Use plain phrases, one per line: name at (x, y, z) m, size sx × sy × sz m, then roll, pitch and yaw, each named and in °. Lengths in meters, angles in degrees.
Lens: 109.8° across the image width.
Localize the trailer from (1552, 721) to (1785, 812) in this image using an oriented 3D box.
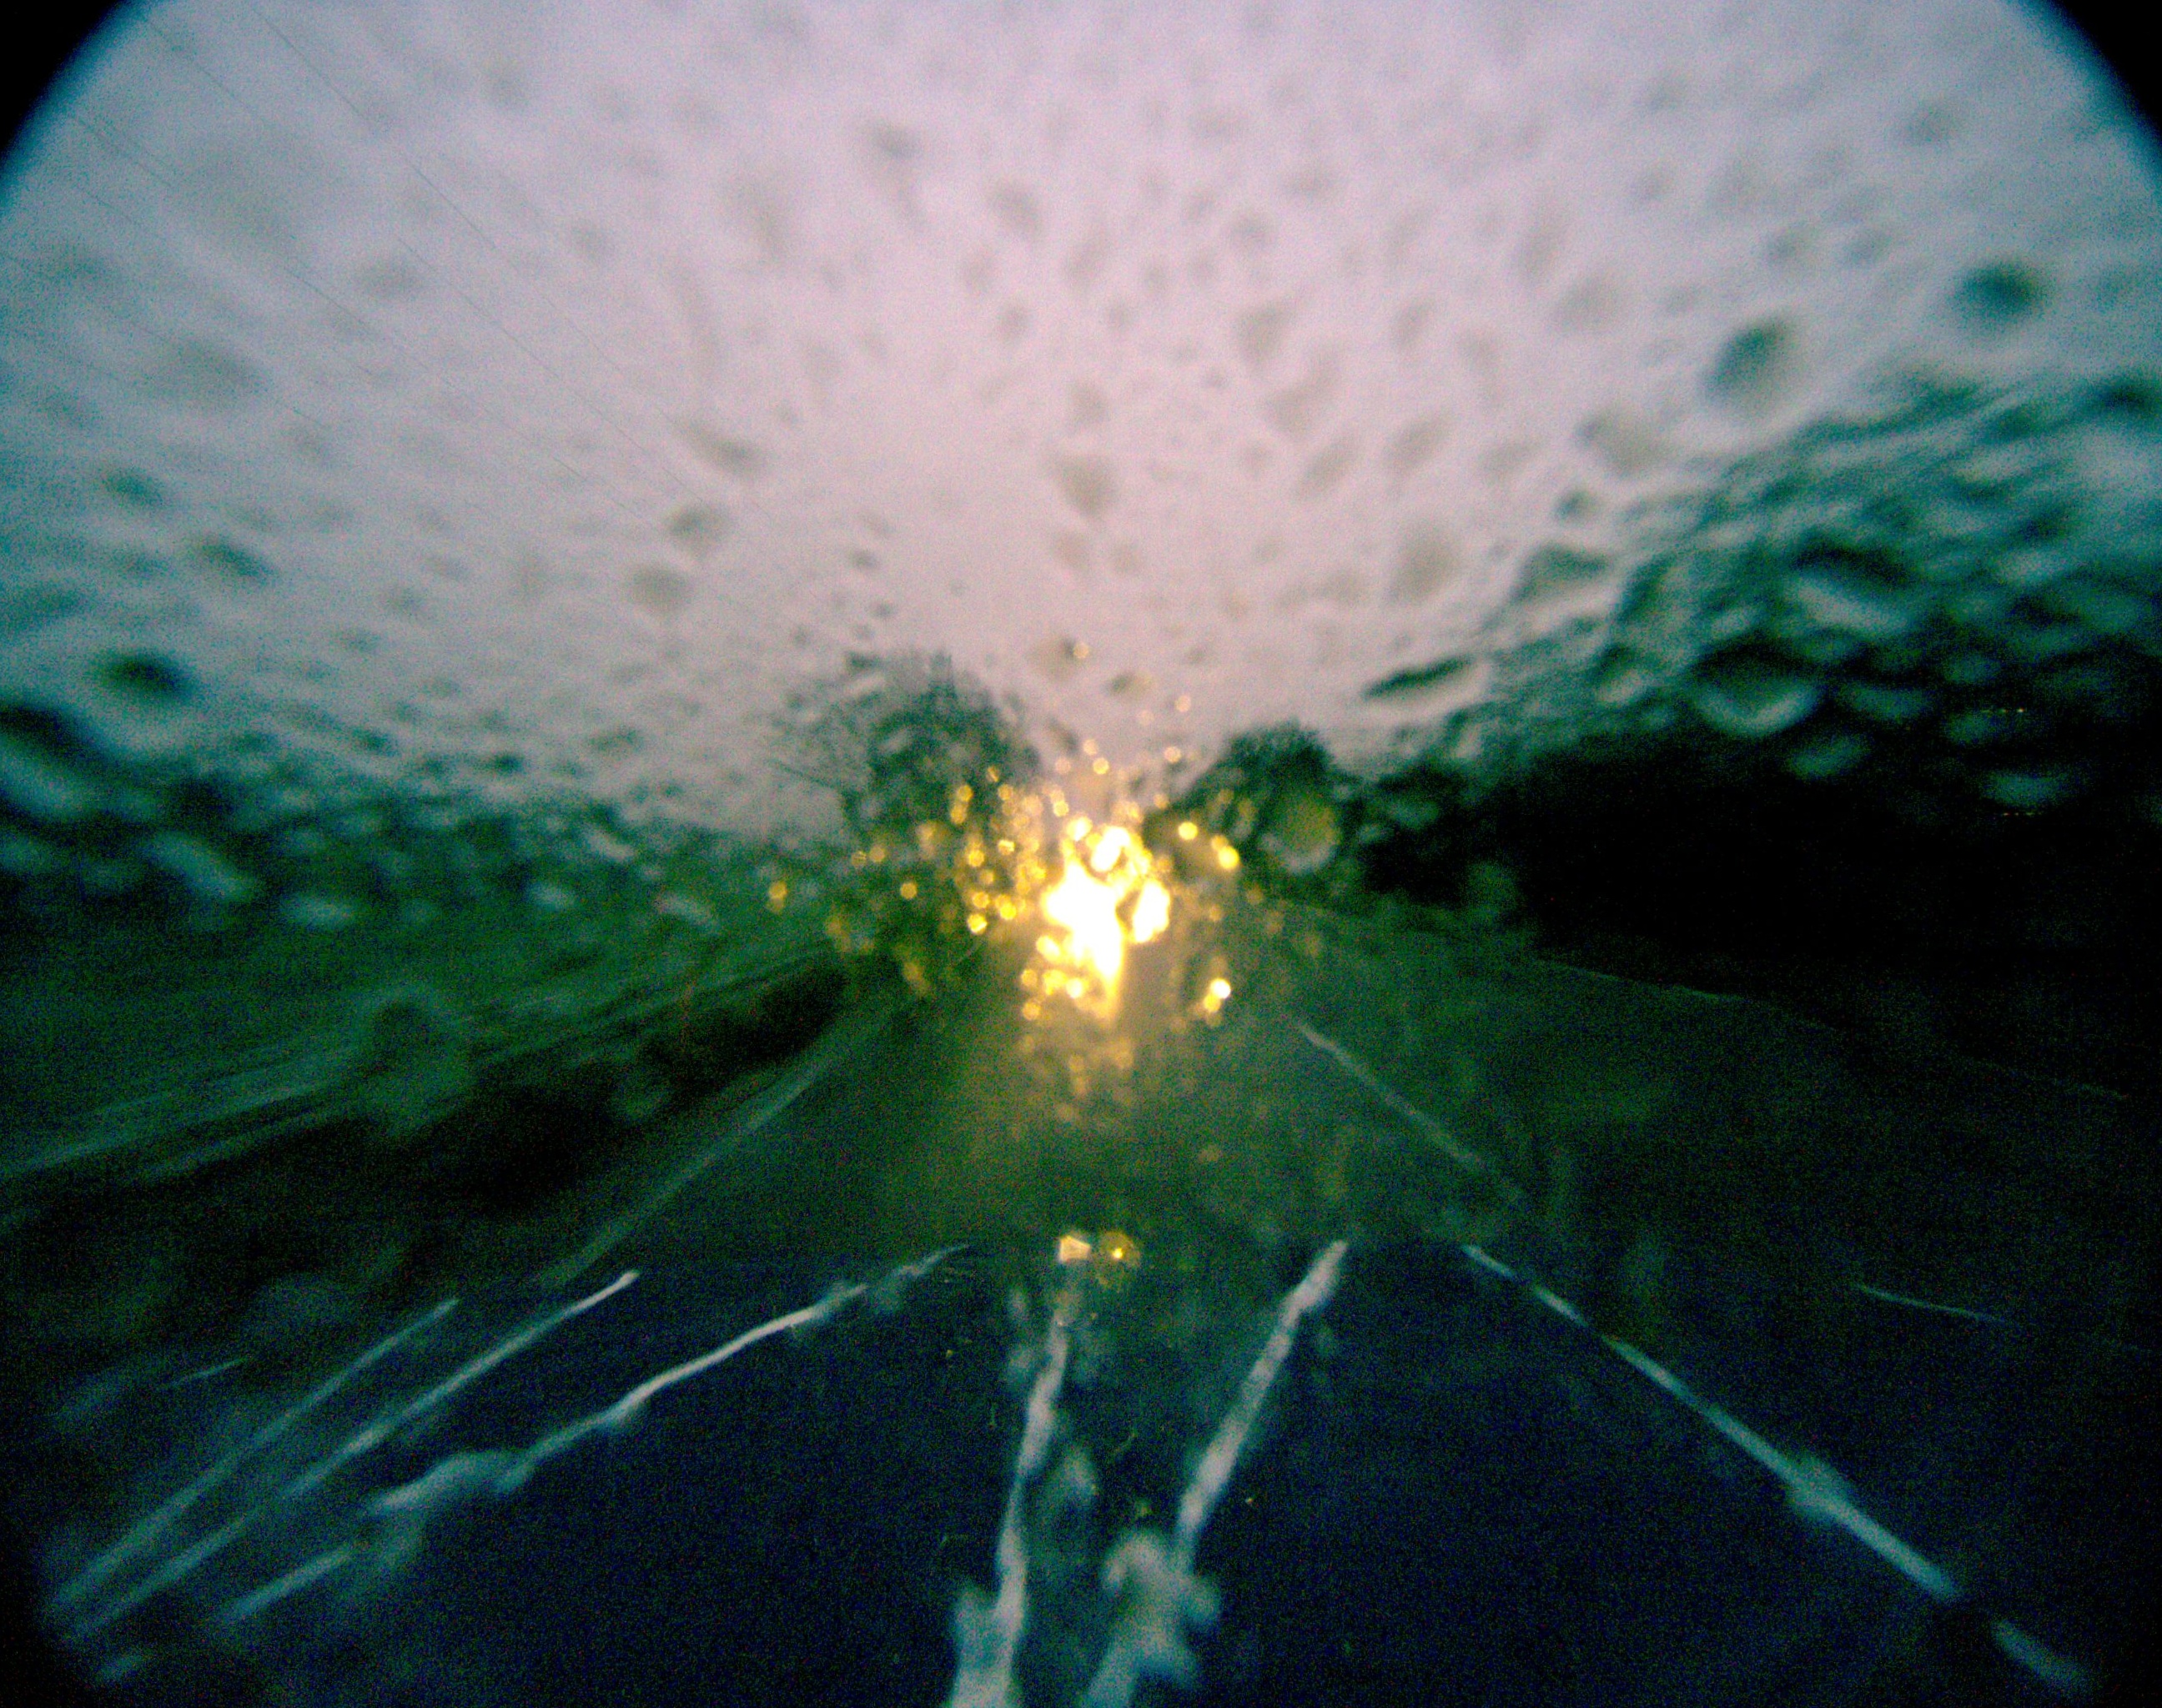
trailer at (26.655, -3.778, 35.593) m, size 2.442 × 2.874 × 11.086 m, roll -1°, pitch 0°, yaw 1°

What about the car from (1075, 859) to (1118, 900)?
car at (0.760, 1.181, 36.599) m, size 1.910 × 1.653 × 3.999 m, roll -3°, pitch 1°, yaw 1°

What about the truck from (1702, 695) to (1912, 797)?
truck at (26.531, -3.819, 28.180) m, size 2.456 × 2.870 × 5.584 m, roll -1°, pitch 0°, yaw 1°
